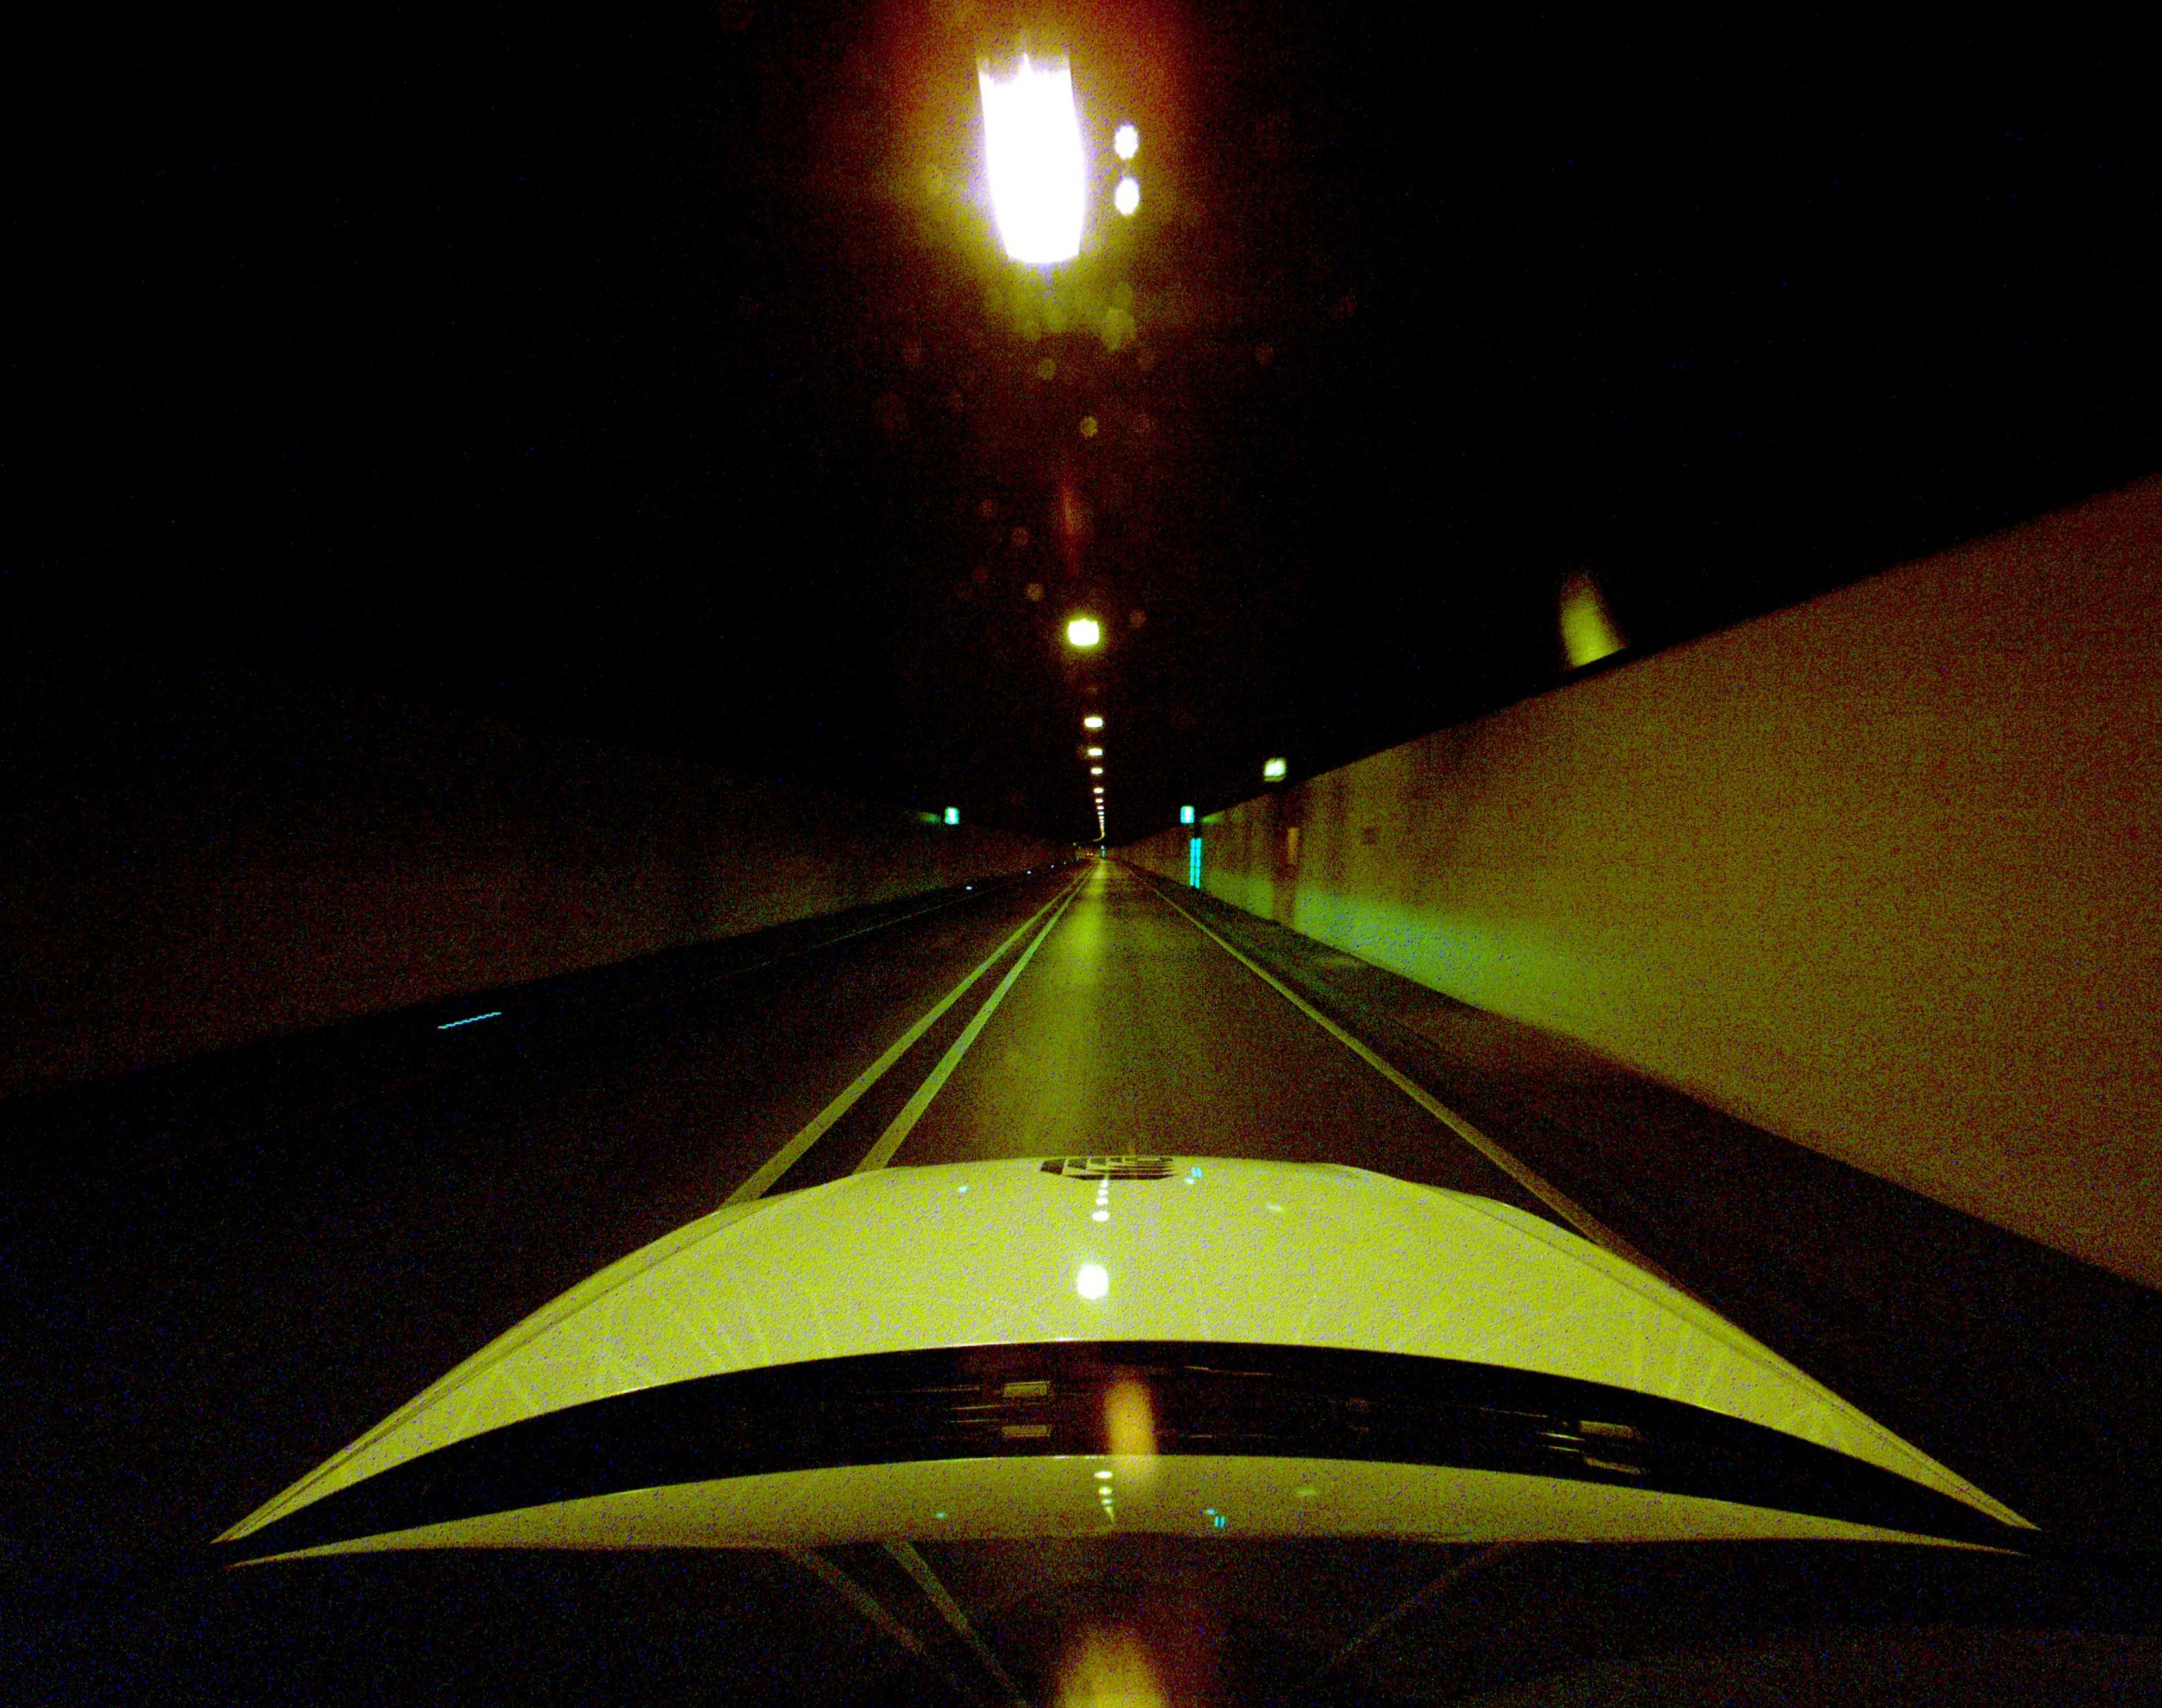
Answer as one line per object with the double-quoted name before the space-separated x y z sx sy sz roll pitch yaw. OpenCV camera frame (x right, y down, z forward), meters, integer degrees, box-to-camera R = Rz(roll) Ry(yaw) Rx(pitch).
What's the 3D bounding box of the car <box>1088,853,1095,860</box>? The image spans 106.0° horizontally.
"car" 3.101 0.677 242.724 1.962 1.939 4.607 1 -1 -3
